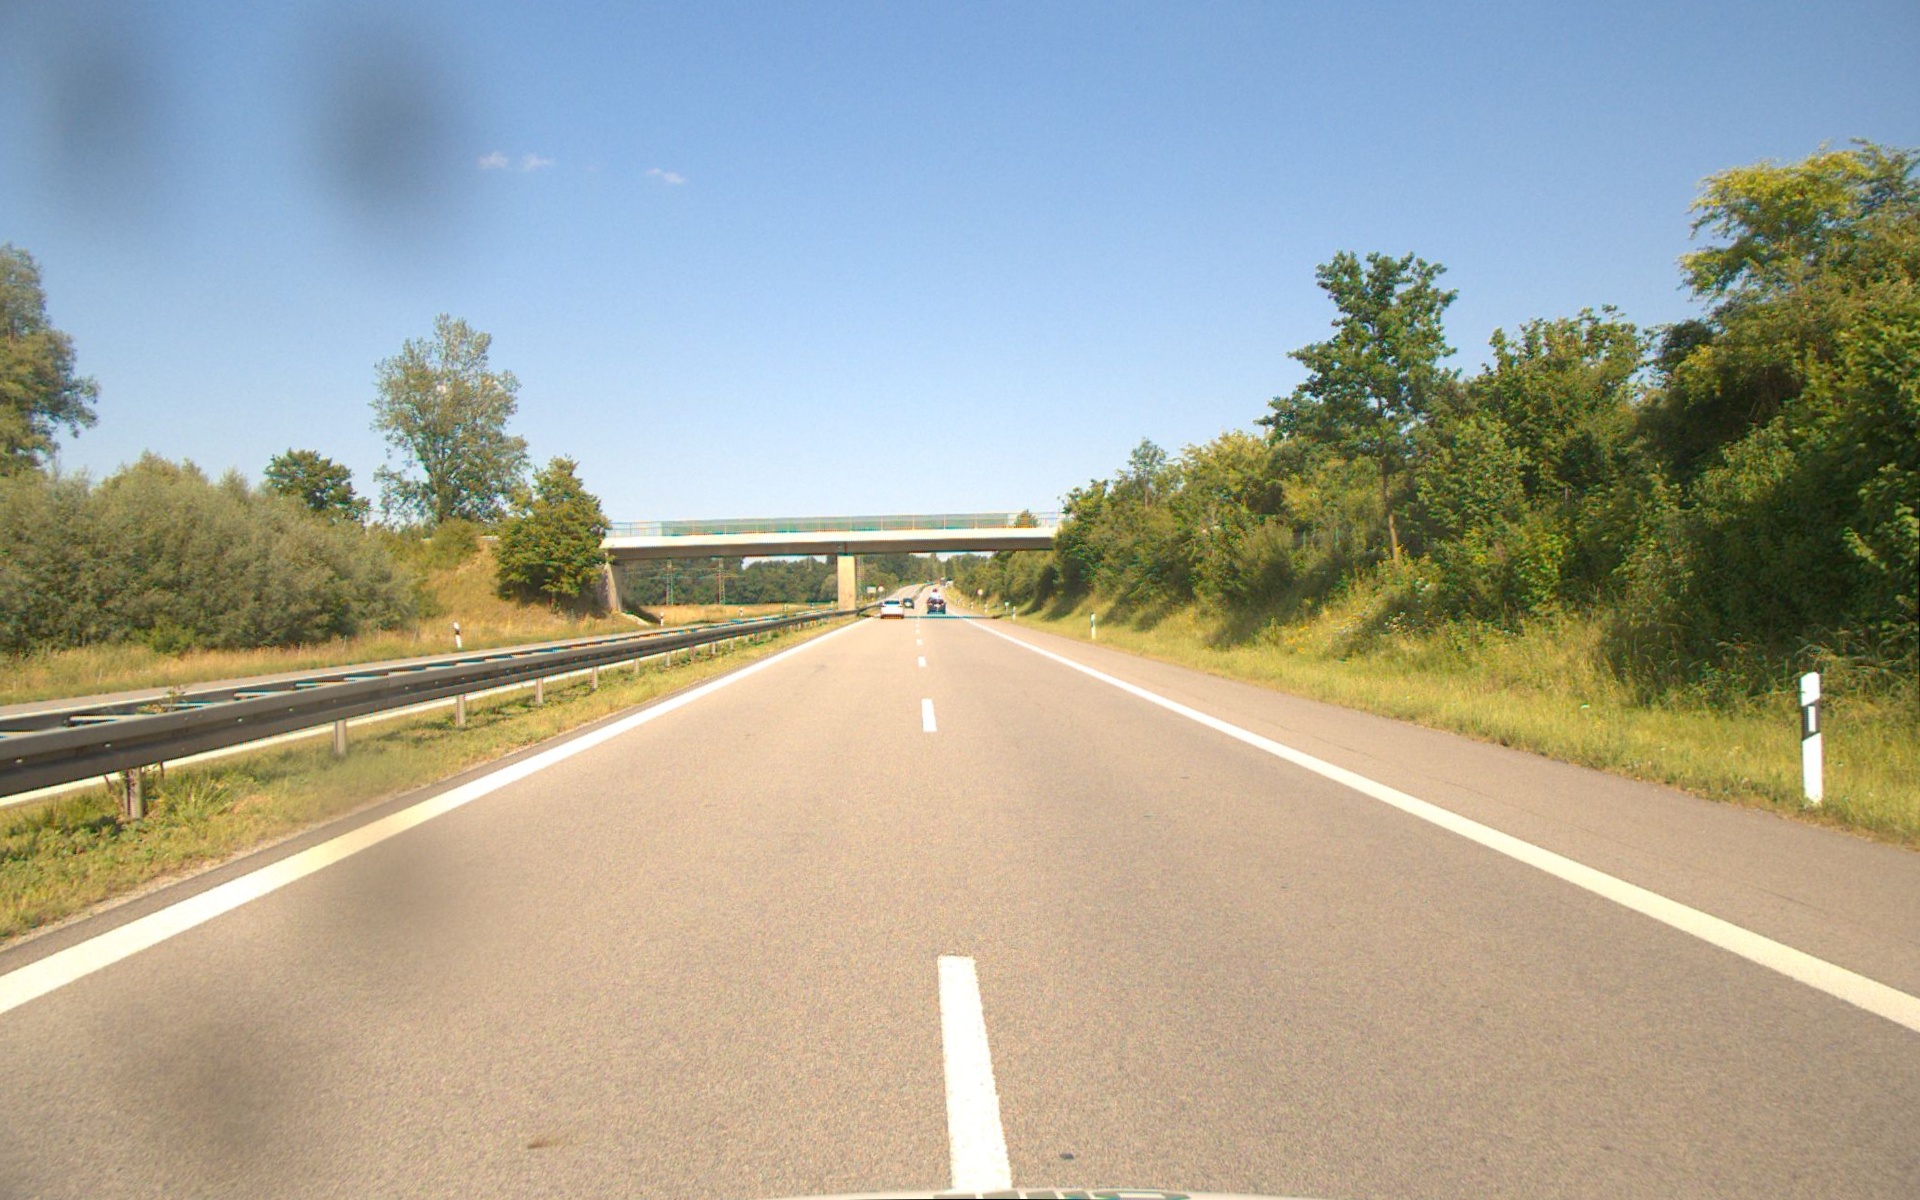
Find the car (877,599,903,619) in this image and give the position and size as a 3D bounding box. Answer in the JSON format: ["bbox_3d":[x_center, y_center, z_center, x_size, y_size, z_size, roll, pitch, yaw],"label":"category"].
[{"bbox_3d":[-5.151,0.649,122.190,1.806,1.440,3.998,1,0,-2],"label":"car"}]

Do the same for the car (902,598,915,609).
[{"bbox_3d":[-7.089,0.501,228.298,1.806,1.461,3.998,1,0,-2],"label":"car"}]

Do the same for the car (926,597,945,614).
[{"bbox_3d":[-2.451,0.549,164.565,1.806,1.546,3.998,1,0,-2],"label":"car"}]
